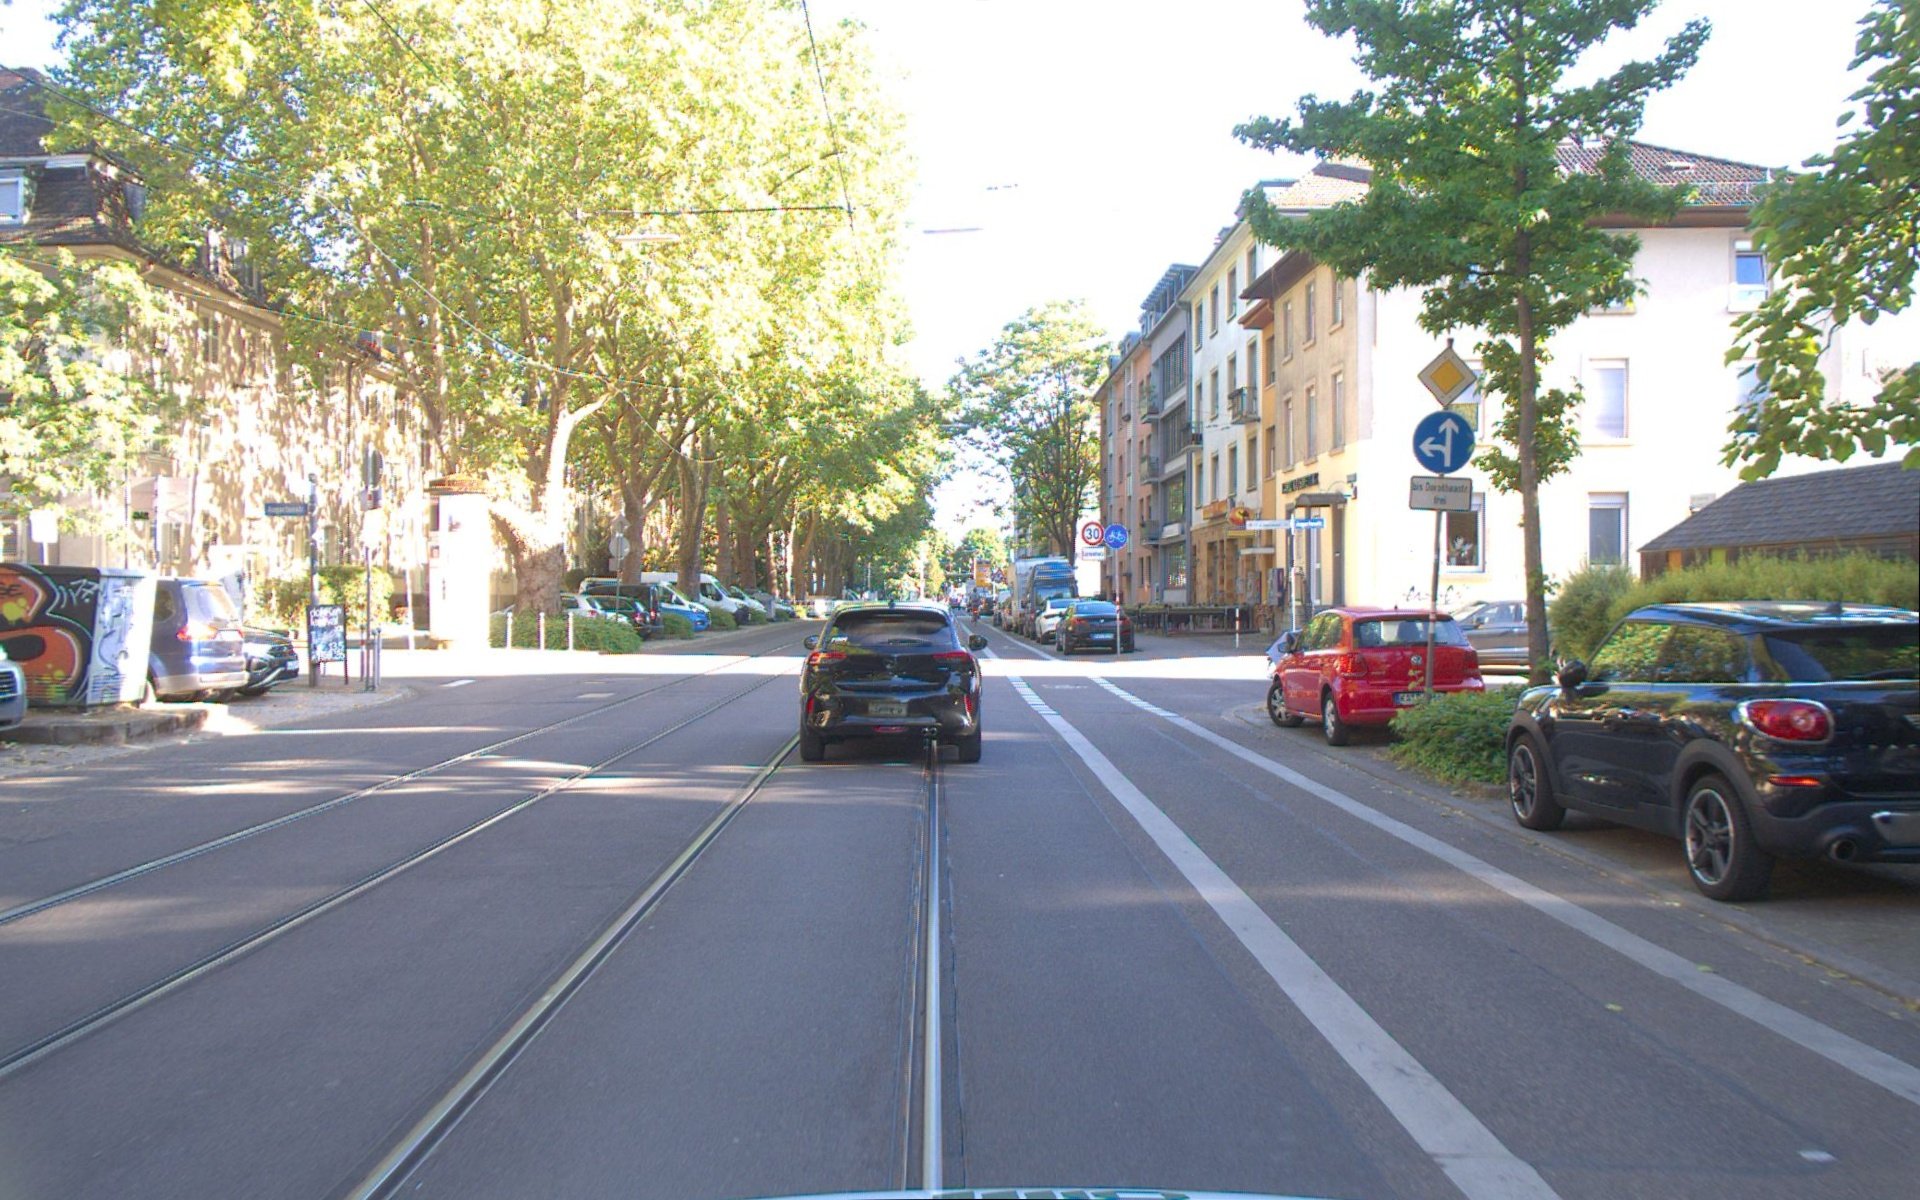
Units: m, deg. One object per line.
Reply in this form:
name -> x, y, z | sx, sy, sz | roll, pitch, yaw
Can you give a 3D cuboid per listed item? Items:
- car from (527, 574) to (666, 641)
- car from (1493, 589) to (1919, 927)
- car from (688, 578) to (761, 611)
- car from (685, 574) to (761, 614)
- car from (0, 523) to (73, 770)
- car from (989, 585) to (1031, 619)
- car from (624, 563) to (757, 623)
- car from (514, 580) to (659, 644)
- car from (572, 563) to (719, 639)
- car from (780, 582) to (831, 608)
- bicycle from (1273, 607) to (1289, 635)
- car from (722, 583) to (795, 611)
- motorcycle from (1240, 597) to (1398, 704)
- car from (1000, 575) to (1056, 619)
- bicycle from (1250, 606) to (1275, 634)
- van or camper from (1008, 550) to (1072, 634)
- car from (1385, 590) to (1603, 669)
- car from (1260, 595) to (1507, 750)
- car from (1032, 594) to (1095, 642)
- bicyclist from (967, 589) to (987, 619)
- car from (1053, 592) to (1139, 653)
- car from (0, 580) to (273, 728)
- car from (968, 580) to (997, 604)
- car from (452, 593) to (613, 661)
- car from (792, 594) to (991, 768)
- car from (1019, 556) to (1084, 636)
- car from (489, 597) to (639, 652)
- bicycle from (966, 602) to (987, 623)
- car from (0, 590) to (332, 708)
car -> -11.971, 0.229, 54.684 | 4.220, 1.872, 1.779 | -4, 0, -9
car -> 4.793, 0.747, 9.986 | 1.677, 1.540, 4.035 | -3, 0, -2
car -> -13.557, -0.322, 94.963 | 4.100, 1.825, 1.996 | 0, 0, -10
car -> -12.498, -0.303, 87.201 | 3.914, 2.049, 1.996 | 0, 0, -10
car -> -11.391, 0.416, 15.537 | 4.934, 2.299, 2.084 | 0, 0, -4
car -> 2.901, 0.120, 97.334 | 2.208, 1.873, 5.530 | -2, 0, -1
car -> -12.044, -0.314, 74.093 | 5.521, 2.638, 2.197 | 0, 0, 3
car -> -11.771, 0.361, 52.360 | 4.220, 1.703, 1.779 | -4, 0, -9
car -> -11.626, 0.039, 61.387 | 4.934, 2.415, 2.081 | -4, 0, -1
car -> -12.743, -0.429, 136.727 | 3.902, 2.049, 2.001 | 0, 0, 5
bicycle -> 9.597, 0.612, 49.457 | 0.464, 0.803, 1.793 | 0, 0, 11
car -> -12.253, -0.179, 100.450 | 4.275, 1.694, 1.996 | 0, 0, -10
motorcycle -> 5.002, 0.699, 23.021 | 2.046, 1.382, 0.924 | -3, -1, 16
car -> 3.085, -0.158, 76.022 | 2.208, 1.873, 5.530 | -2, 0, -1
bicycle -> 9.245, 0.601, 50.632 | 0.401, 0.803, 1.791 | 0, 0, -1
van or camper -> 3.288, -0.349, 68.824 | 2.208, 3.272, 5.530 | -2, 0, -1
car -> 11.378, 0.604, 35.429 | 4.100, 1.626, 1.891 | 0, 1, 3
car -> 4.694, 0.733, 18.911 | 1.668, 1.448, 3.978 | -4, 0, -1
car -> 3.396, 0.597, 54.971 | 1.767, 1.459, 3.999 | -2, -1, -1
bicyclist -> 0.860, 0.182, 84.096 | 0.939, 1.525, 1.093 | 0, 0, -2
car -> 3.642, 0.581, 44.971 | 1.846, 1.459, 4.529 | -3, 0, -1
car -> -11.420, 0.653, 21.468 | 4.214, 1.832, 1.925 | 0, 0, -4
car -> 1.842, -0.672, 139.052 | 2.208, 1.873, 5.530 | -2, 0, -1
car -> -12.257, 0.753, 47.683 | 4.220, 1.621, 1.779 | -4, 0, -9
car -> -0.621, 0.701, 16.389 | 1.727, 1.486, 3.950 | 0, 0, -1
car -> 3.406, -0.184, 62.264 | 2.043, 2.820, 4.697 | -2, 1, -1
car -> -11.994, 0.727, 50.324 | 4.220, 1.313, 1.707 | -4, 0, -9
bicycle -> 0.847, 0.626, 84.109 | 0.948, 1.016, 2.582 | 0, 0, -2
car -> -11.628, 0.672, 24.098 | 4.214, 1.635, 1.925 | 0, 0, -4
